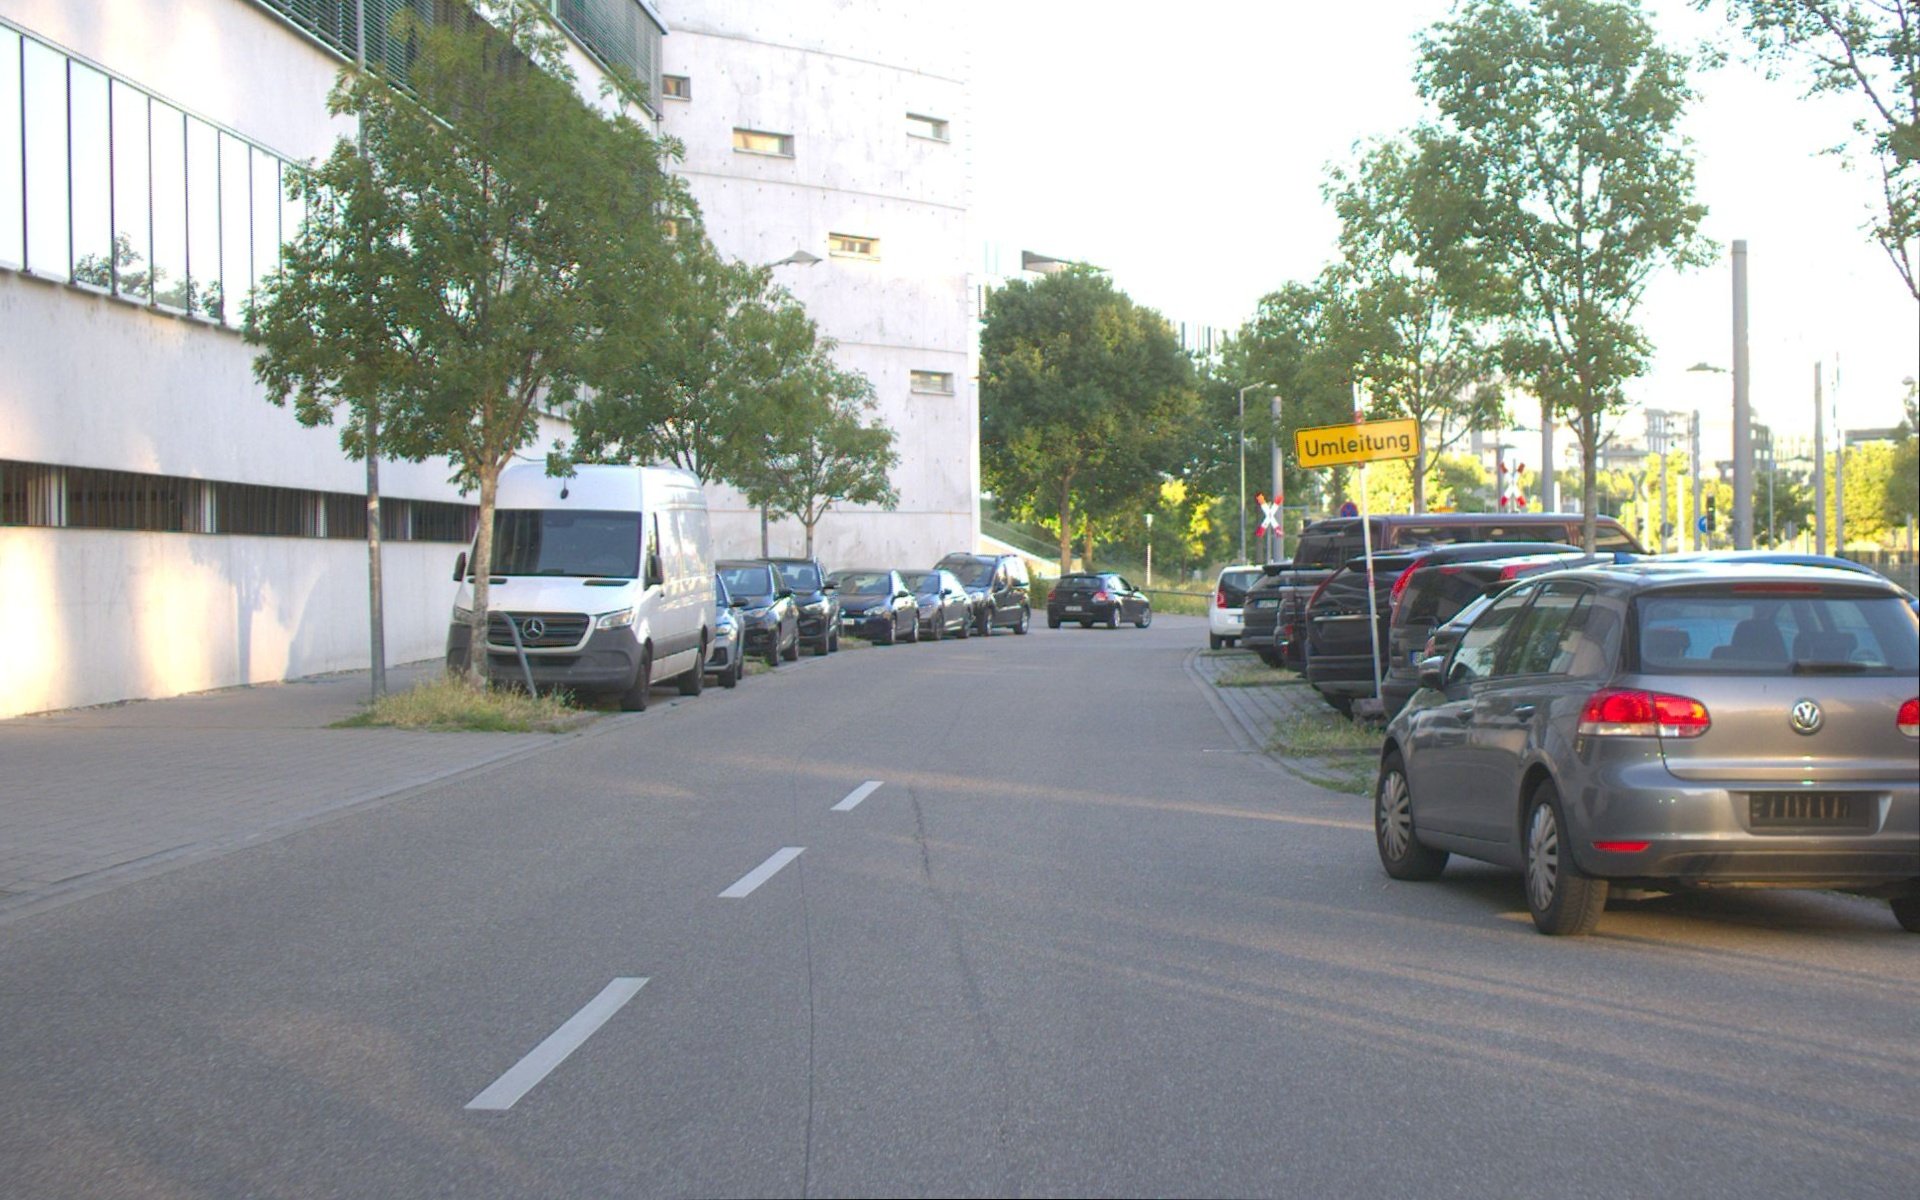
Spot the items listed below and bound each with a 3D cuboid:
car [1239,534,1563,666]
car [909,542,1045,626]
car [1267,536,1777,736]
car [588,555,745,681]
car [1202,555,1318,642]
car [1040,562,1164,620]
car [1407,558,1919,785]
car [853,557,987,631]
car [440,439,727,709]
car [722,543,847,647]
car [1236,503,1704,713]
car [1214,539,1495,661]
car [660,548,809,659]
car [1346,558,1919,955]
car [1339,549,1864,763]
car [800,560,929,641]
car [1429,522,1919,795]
[{"bbox_3d":[6.144,-0.007,47.920,3.973,1.634,1.973,-3,0,-25],"label":"car"},{"bbox_3d":[0.417,-0.392,77.463,1.759,1.792,4.459,2,1,18],"label":"car"},{"bbox_3d":[5.321,0.308,32.388,4.588,1.743,1.871,0,1,-31],"label":"car"},{"bbox_3d":[-3.674,0.195,43.574,1.756,1.434,3.902,1,1,-2],"label":"car"},{"bbox_3d":[5.441,-0.051,62.077,1.723,1.462,3.551,-1,1,11],"label":"car"},{"bbox_3d":[3.652,-0.254,87.373,1.946,1.378,4.395,2,1,19],"label":"car"},{"bbox_3d":[5.269,0.452,24.516,3.987,1.460,1.736,-1,1,-35],"label":"car"},{"bbox_3d":[-0.803,-0.152,72.364,1.723,1.452,4.691,2,1,13],"label":"car"},{"bbox_3d":[-3.945,-0.332,37.310,1.958,2.608,6.892,1,1,3],"label":"car"},{"bbox_3d":[-2.953,-0.112,58.449,1.756,1.648,3.948,1,1,2],"label":"car"},{"bbox_3d":[5.277,0.061,35.439,4.588,2.028,1.871,0,1,-31],"label":"car"},{"bbox_3d":[5.817,-0.009,50.648,3.766,1.720,1.764,0,1,-30],"label":"car"},{"bbox_3d":[-3.388,0.016,52.314,1.756,1.555,4.043,1,1,3],"label":"car"},{"bbox_3d":[2.979,0.580,14.855,1.731,1.461,4.001,1,0,-6],"label":"car"},{"bbox_3d":[5.143,0.442,27.412,3.987,1.589,1.737,1,0,-33],"label":"car"},{"bbox_3d":[-1.820,-0.020,66.882,1.723,1.452,4.270,2,1,9],"label":"car"},{"bbox_3d":[5.100,0.310,21.366,3.987,1.515,1.928,-2,0,-32],"label":"car"}]
